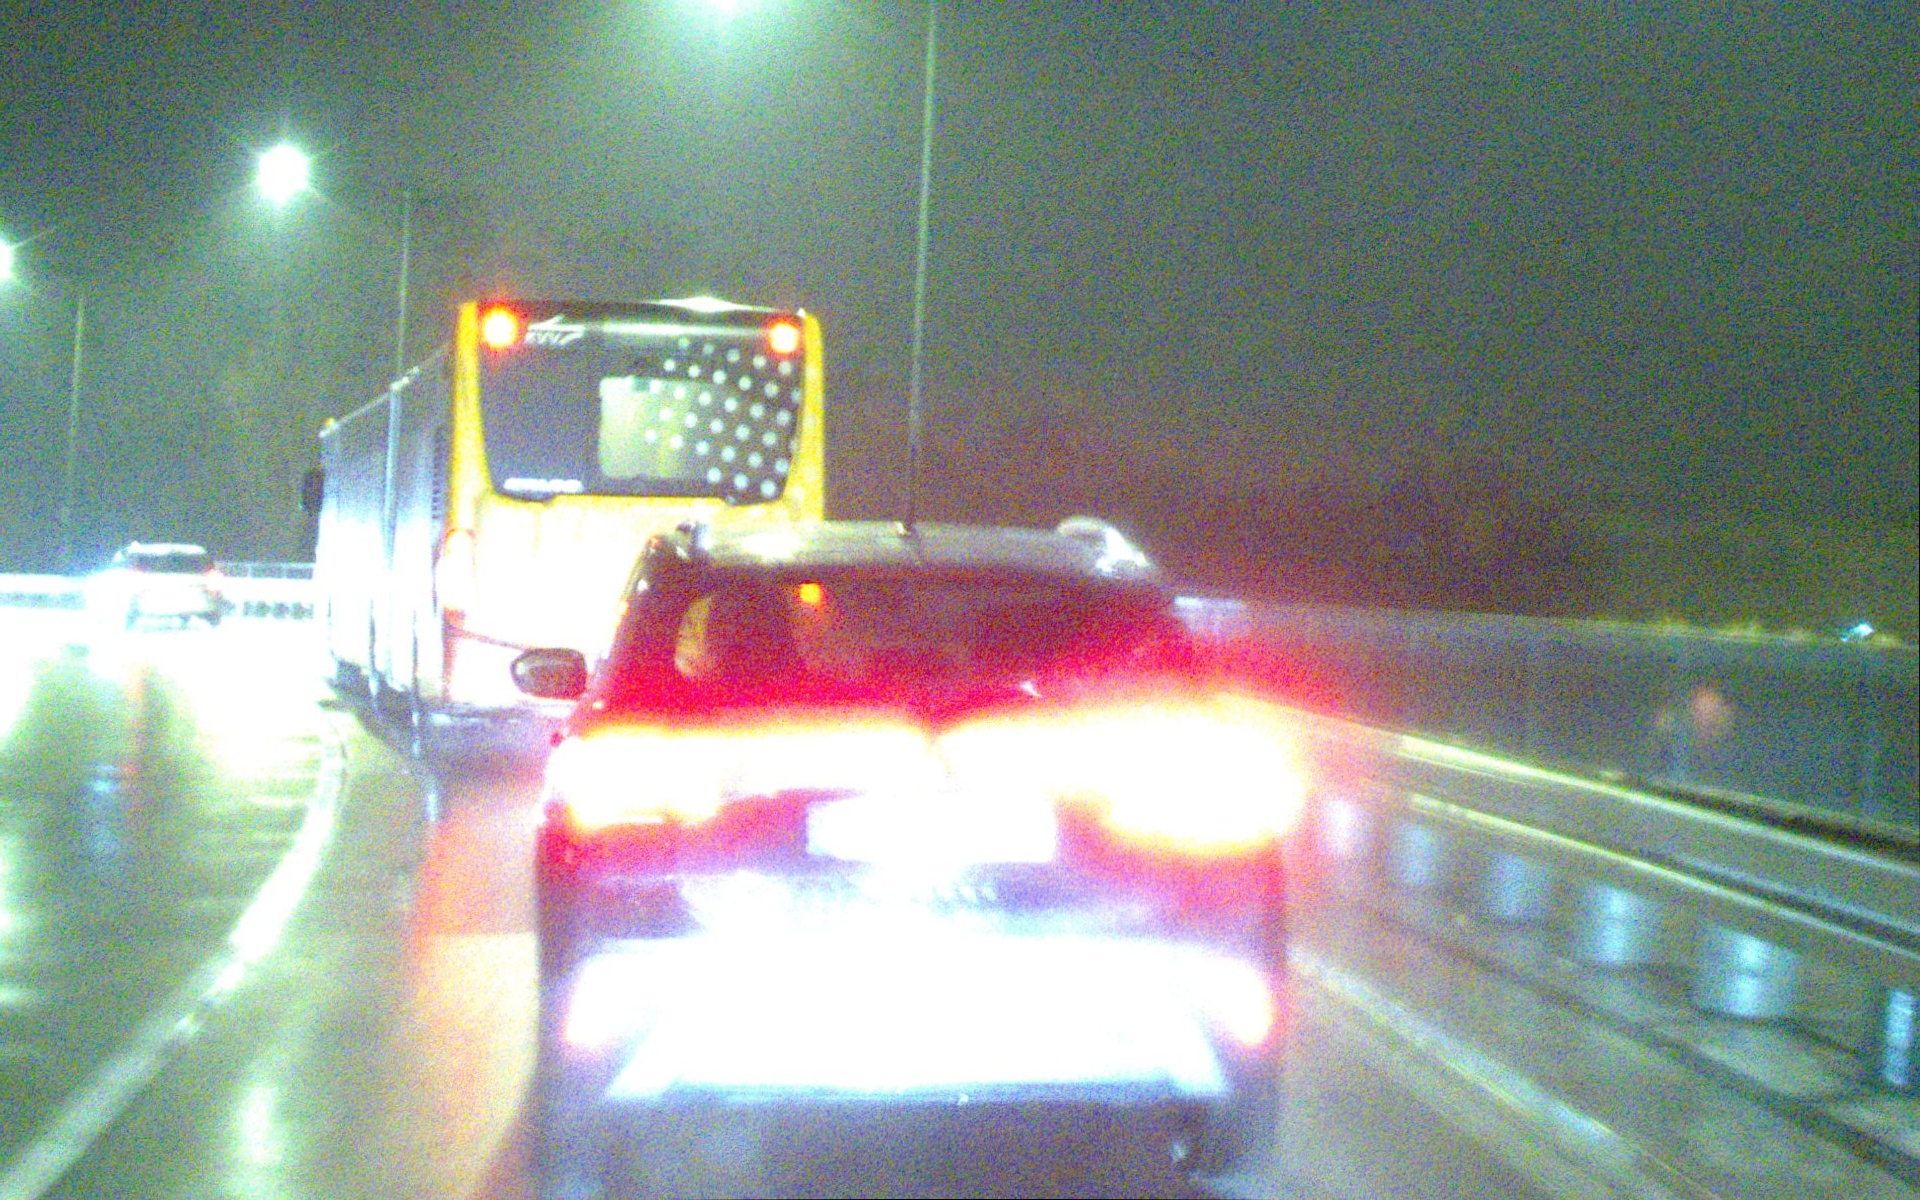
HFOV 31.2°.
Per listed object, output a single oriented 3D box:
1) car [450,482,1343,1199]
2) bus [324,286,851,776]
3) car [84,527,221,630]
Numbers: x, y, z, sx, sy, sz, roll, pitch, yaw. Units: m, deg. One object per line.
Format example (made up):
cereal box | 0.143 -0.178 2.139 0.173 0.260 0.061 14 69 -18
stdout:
car | -0.289 0.538 9.183 1.855 1.581 4.001 1 0 -5
bus | -3.530 -0.565 28.419 3.082 3.122 12.701 0 1 -12
car | -13.977 -0.345 59.385 1.636 1.650 3.710 0 -2 -24
